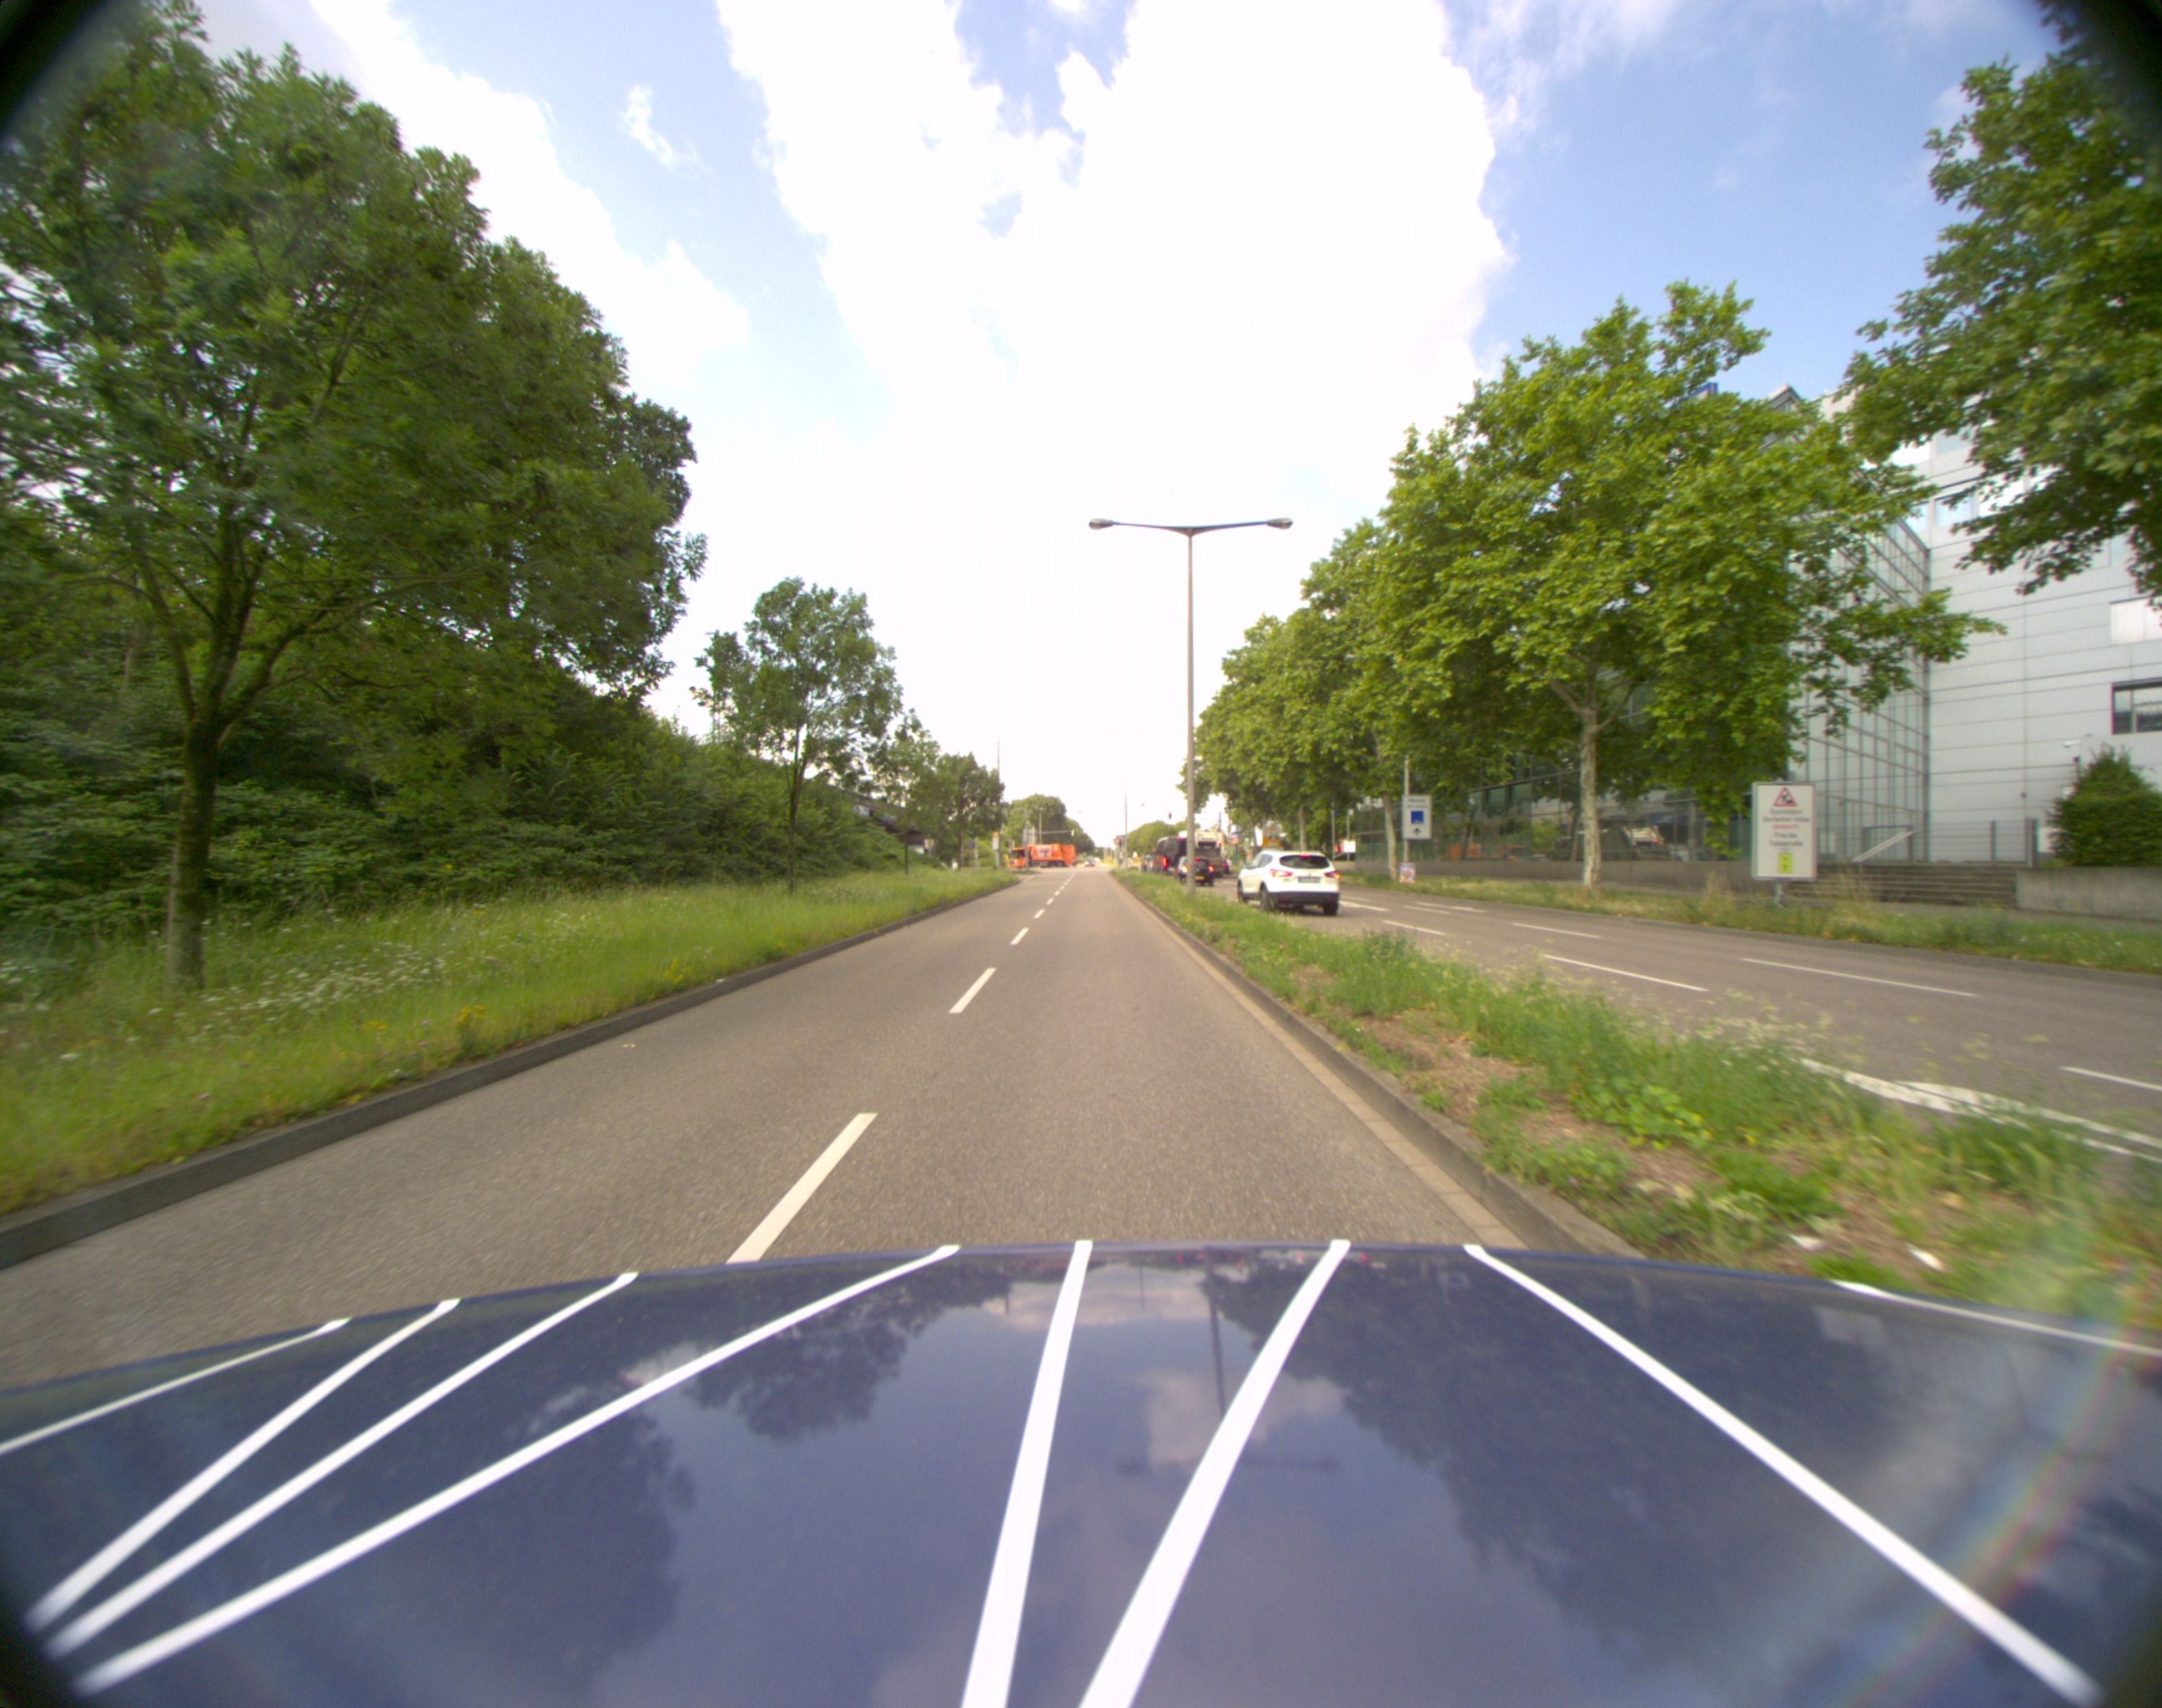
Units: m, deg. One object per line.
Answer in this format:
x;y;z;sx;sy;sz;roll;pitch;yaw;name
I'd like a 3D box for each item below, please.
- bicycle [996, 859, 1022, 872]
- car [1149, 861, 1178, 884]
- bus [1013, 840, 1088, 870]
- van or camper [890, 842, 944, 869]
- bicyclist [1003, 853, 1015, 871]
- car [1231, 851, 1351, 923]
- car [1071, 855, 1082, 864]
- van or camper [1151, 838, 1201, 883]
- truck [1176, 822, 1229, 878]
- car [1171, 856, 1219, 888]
-6.993;1.155;74.055;2.321;1.088;0.843;-3;5;-27;bicycle
6.323;1.399;58.513;1.749;1.544;4.233;1;1;1;car
-4.074;0.027;104.663;10.410;3.447;2.739;-4;4;-34;bus
-19.885;0.130;92.307;5.975;2.771;2.158;-4;5;-36;van or camper
-7.024;0.798;74.014;0.824;1.670;0.843;-3;5;-27;bicyclist
5.310;0.768;19.833;1.819;1.630;4.350;1;0;-1;car
-0.728;0.871;130.070;1.716;1.477;4.000;-1;0;1;car
5.887;0.352;47.777;2.110;2.644;6.716;1;1;-1;van or camper
9.126;-0.333;58.020;2.656;3.865;10.159;-1;1;2;truck
5.600;0.849;37.749;1.698;1.455;3.940;0;1;-1;car
